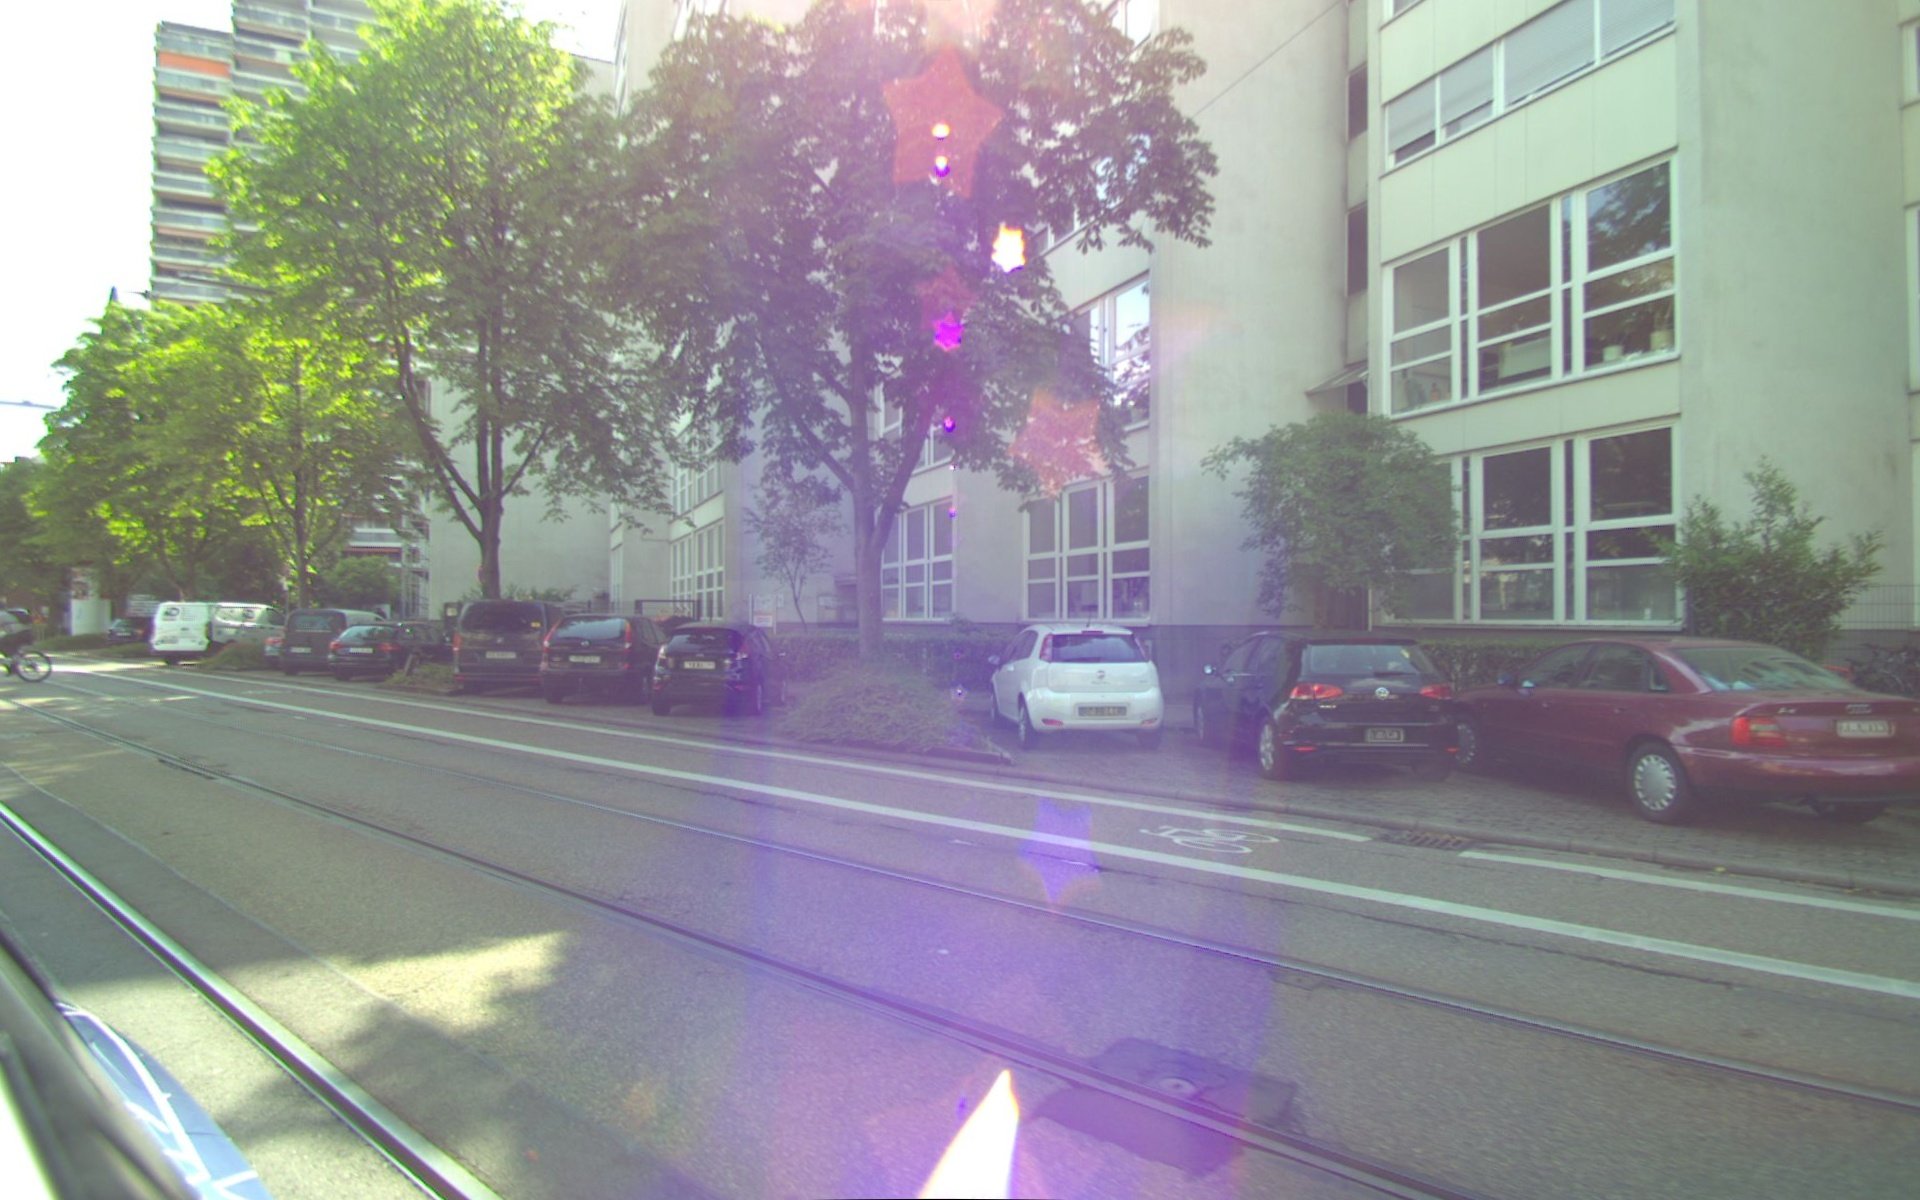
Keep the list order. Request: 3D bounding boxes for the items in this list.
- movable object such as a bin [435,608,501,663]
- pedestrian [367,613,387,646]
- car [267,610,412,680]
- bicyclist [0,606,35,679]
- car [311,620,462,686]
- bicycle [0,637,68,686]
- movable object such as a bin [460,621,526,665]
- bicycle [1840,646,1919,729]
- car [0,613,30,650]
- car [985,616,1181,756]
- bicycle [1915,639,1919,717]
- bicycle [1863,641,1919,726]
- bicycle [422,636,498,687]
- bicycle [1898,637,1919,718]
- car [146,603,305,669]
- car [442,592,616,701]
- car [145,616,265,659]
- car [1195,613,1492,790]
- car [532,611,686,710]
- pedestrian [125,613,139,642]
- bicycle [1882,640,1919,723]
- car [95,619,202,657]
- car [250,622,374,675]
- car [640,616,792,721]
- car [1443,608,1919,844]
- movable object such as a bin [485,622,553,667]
[{"bbox_3d":[-16.934,1.234,34.849,1.536,1.795,1.374,0,-4,36],"label":"movable object such as a bin"},{"bbox_3d":[-29.066,1.473,50.438,0.660,1.636,0.635,0,0,32],"label":"pedestrian"},{"bbox_3d":[-16.409,1.218,26.990,1.734,1.706,3.718,2,-3,-4],"label":"car"},{"bbox_3d":[-20.794,0.919,22.065,0.729,1.588,0.645,2,-2,-26],"label":"bicyclist"},{"bbox_3d":[-13.864,1.292,24.751,1.733,1.428,4.005,2,-3,-6],"label":"car"},{"bbox_3d":[-20.829,1.330,22.030,1.966,1.048,0.659,2,-2,-26],"label":"bicycle"},{"bbox_3d":[-15.569,1.435,33.752,1.536,1.374,1.374,0,-4,36],"label":"movable object such as a bin"},{"bbox_3d":[13.049,1.193,13.624,0.377,1.072,1.816,-1,0,-23],"label":"bicycle"},{"bbox_3d":[-51.162,1.672,53.810,4.231,1.865,1.869,-1,1,39],"label":"car"},{"bbox_3d":[1.422,1.048,13.073,1.671,1.495,3.812,2,-3,-6],"label":"car"},{"bbox_3d":[14.816,1.156,14.365,0.377,1.154,1.816,-1,0,-23],"label":"bicycle"},{"bbox_3d":[13.590,1.166,13.864,0.377,1.154,1.816,-1,0,-23],"label":"bicycle"},{"bbox_3d":[-11.898,1.439,24.157,0.577,1.127,1.995,1,-2,9],"label":"bicycle"},{"bbox_3d":[14.406,1.129,14.197,0.377,1.154,1.816,-1,0,-23],"label":"bicycle"},{"bbox_3d":[-23.837,1.157,33.105,1.940,2.012,4.688,0,-2,-2],"label":"car"},{"bbox_3d":[-8.820,0.987,21.259,1.887,1.969,5.175,2,-3,-6],"label":"car"},{"bbox_3d":[-28.644,1.407,38.591,1.794,1.512,4.199,0,-2,-6],"label":"car"},{"bbox_3d":[3.786,0.981,10.729,1.674,1.495,3.806,1,-3,0],"label":"car"},{"bbox_3d":[-6.363,1.104,18.800,1.714,1.605,4.004,2,-3,-5],"label":"car"},{"bbox_3d":[-51.549,1.717,63.010,0.516,1.767,0.637,0,2,-27],"label":"pedestrian"},{"bbox_3d":[14.005,1.159,14.009,0.377,1.154,1.816,-1,0,-23],"label":"bicycle"},{"bbox_3d":[-33.966,1.558,42.511,1.715,1.535,3.891,0,-1,-7],"label":"car"},{"bbox_3d":[-18.857,1.423,29.672,1.694,1.428,4.009,2,-3,-12],"label":"car"},{"bbox_3d":[-3.898,1.110,16.810,1.715,1.495,4.002,2,-3,-3],"label":"car"},{"bbox_3d":[6.040,0.927,8.545,1.819,1.495,3.973,2,-3,-4],"label":"car"},{"bbox_3d":[-14.261,1.449,32.738,1.536,1.374,1.374,0,-4,36],"label":"movable object such as a bin"}]
